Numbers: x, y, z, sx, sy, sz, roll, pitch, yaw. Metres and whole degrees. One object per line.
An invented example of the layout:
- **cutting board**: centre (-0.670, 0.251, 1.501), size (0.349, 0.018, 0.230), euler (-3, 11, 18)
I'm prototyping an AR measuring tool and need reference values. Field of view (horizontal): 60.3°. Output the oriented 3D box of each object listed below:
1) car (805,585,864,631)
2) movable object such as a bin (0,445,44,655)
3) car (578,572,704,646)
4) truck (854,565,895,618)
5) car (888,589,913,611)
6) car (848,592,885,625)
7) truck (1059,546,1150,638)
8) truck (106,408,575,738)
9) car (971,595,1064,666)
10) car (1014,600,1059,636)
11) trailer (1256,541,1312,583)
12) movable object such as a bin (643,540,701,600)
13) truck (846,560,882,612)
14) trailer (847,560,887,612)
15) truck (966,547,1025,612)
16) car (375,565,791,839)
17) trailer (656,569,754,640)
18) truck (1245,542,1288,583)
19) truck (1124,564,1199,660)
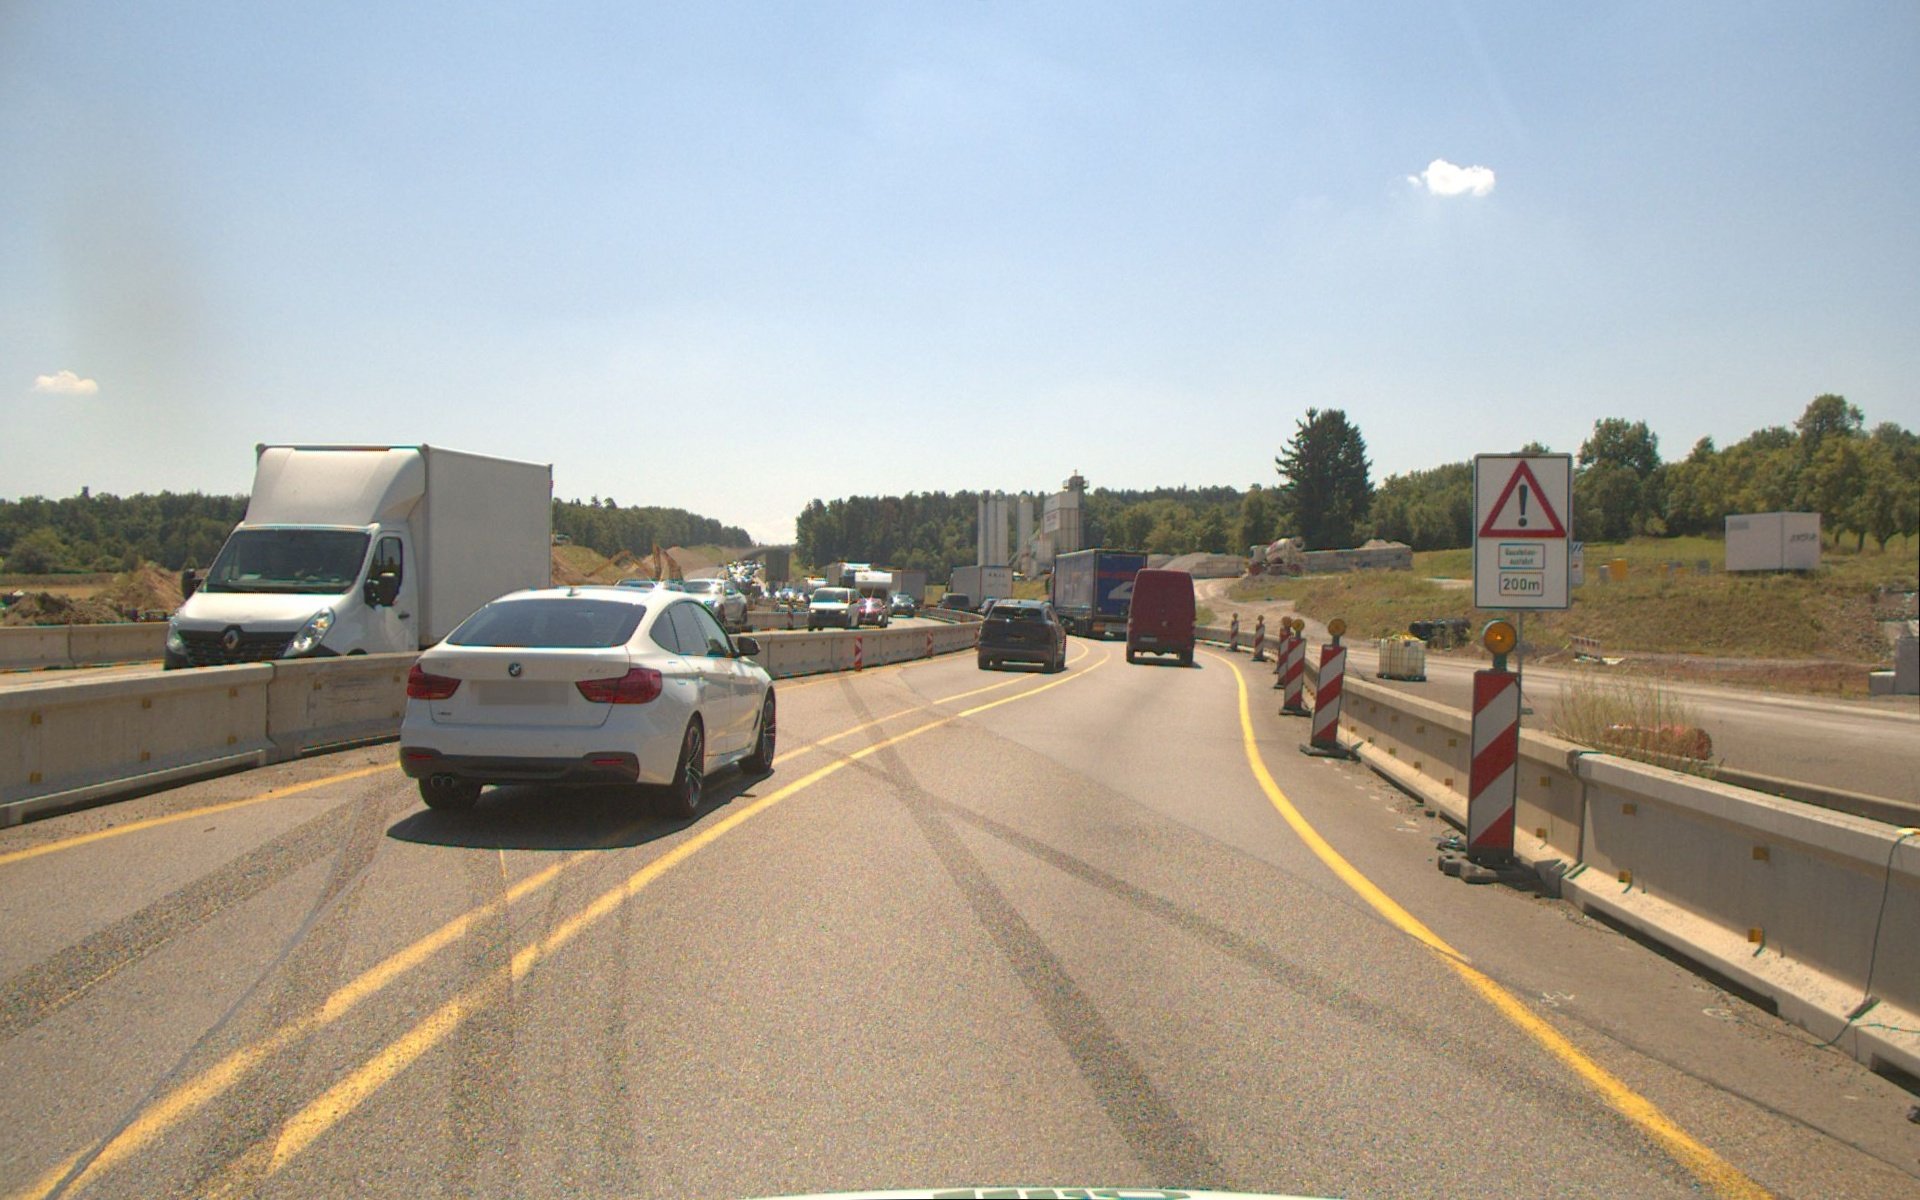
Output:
- **car**: centre (-5.576, 0.325, 73.930), size (1.826, 1.987, 4.895), euler (1, 0, 5)
- **movable object such as a bin**: centre (-22.295, -1.052, 31.554), size (2.861, 4.405, 9.334), euler (1, 0, 13)
- **car**: centre (-8.441, 0.223, 44.213), size (1.826, 1.838, 4.910), euler (-1, 0, 7)
- **truck**: centre (-5.369, -0.526, 102.864), size (2.393, 3.125, 7.242), euler (1, 0, -4)
- **car**: centre (-4.448, -0.014, 123.661), size (1.626, 1.633, 4.397), euler (1, 0, 1)
- **car**: centre (-4.883, 0.441, 86.655), size (1.685, 1.656, 4.335), euler (1, 0, -1)
- **truck**: centre (6.956, -0.396, 80.720), size (2.957, 4.225, 8.263), euler (1, 0, -5)
- **truck**: centre (-7.322, -0.308, 20.788), size (2.524, 3.440, 6.933), euler (1, 0, 7)
- **car**: centre (1.417, 0.680, 39.230), size (1.757, 1.561, 3.934), euler (1, 0, 8)
- **car**: centre (3.660, 0.846, 79.652), size (1.766, 1.607, 3.997), euler (1, 0, -4)
- **trailer**: centre (32.795, -3.791, 167.778), size (2.713, 4.186, 6.712), euler (1, 0, -18)
- **movable object such as a bin**: centre (-38.433, -4.001, 220.932), size (7.494, 7.848, 3.439), euler (1, 0, -8)
- **truck**: centre (-7.729, -1.109, 133.905), size (2.647, 4.133, 5.499), euler (1, 0, -1)
- **trailer**: centre (-7.820, -1.173, 140.544), size (2.704, 4.186, 13.976), euler (1, 0, -1)
- **truck**: centre (2.628, -1.570, 127.923), size (3.611, 4.773, 9.744), euler (1, 0, -4)
- **car**: centre (-2.511, 0.597, 12.413), size (1.758, 1.561, 5.074), euler (2, 0, 2)
- **trailer**: centre (-7.663, 0.118, 50.146), size (1.826, 2.057, 4.439), euler (1, 0, 6)
- **truck**: centre (31.699, -3.837, 171.271), size (2.702, 4.167, 4.080), euler (1, 0, -18)
- **truck**: centre (5.994, 0.325, 49.737), size (2.067, 2.679, 6.488), euler (1, 0, 6)
